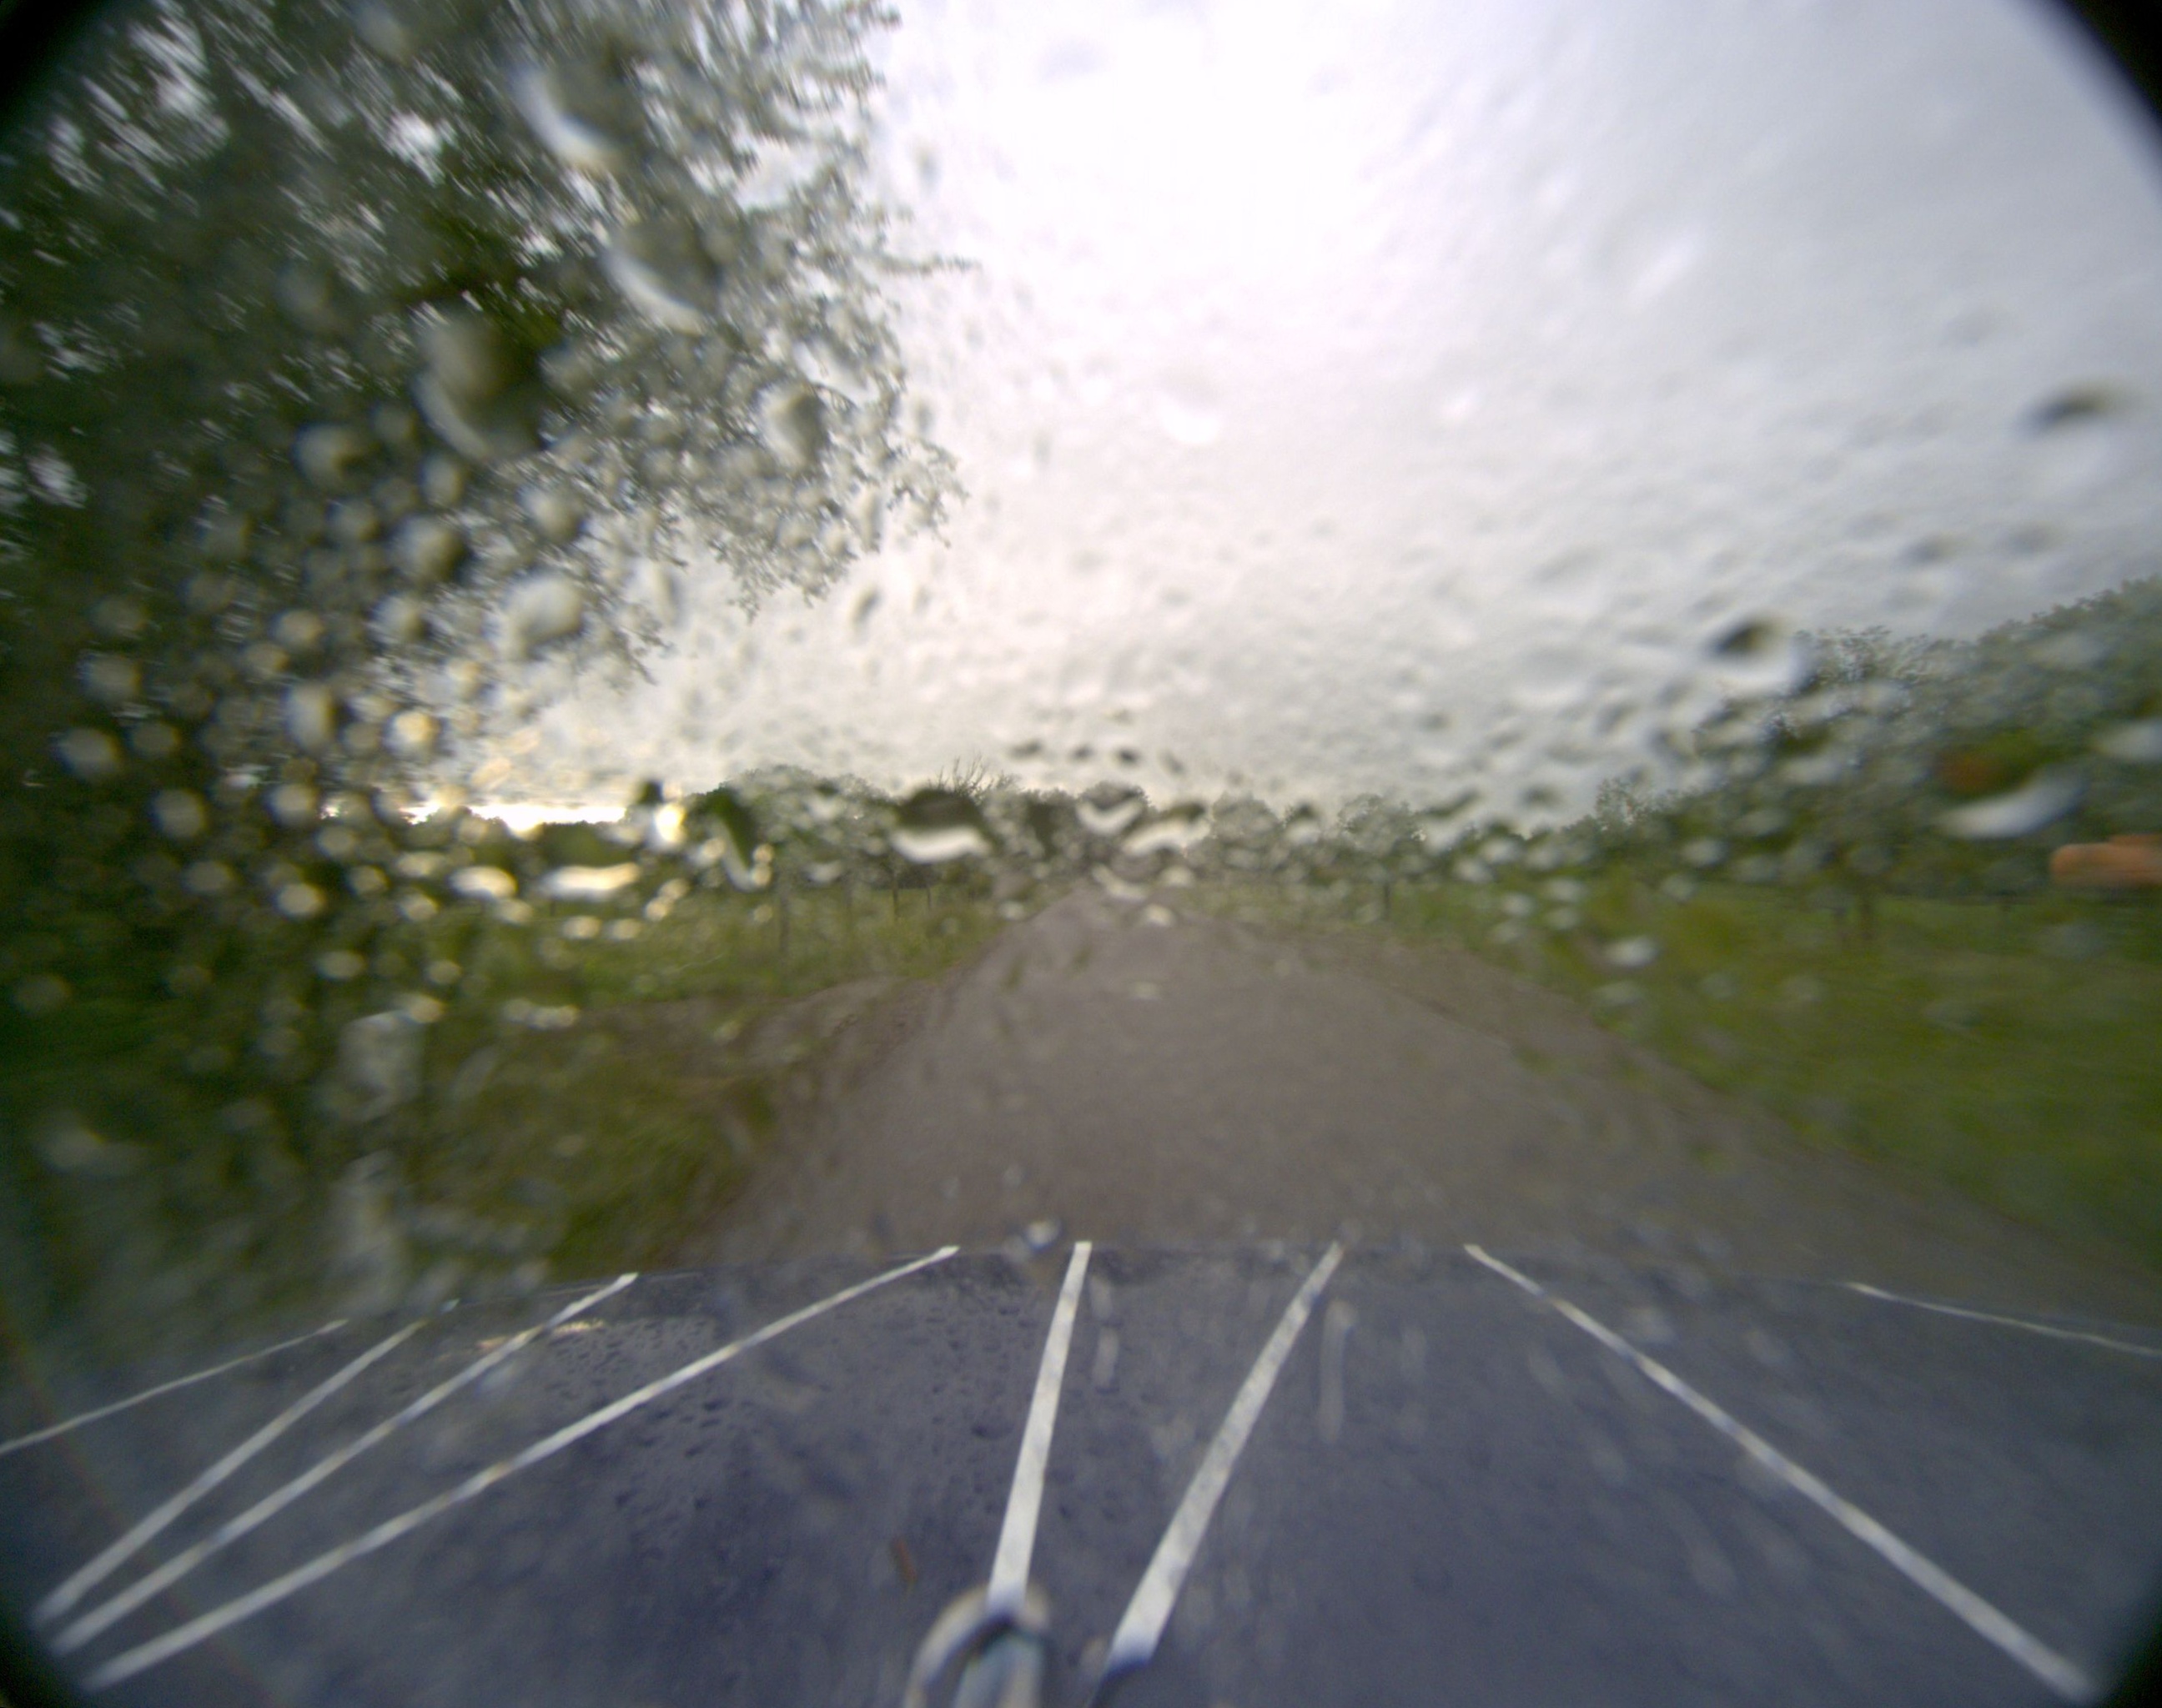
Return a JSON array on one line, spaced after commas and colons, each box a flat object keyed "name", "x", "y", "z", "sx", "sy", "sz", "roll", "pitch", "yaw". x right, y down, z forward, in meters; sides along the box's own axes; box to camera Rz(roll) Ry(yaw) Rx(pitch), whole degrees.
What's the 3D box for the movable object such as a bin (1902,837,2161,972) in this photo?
[{"name": "movable object such as a bin", "x": 13.559, "y": 0.582, "z": 9.977, "sx": 1.683, "sy": 1.561, "sz": 3.538, "roll": -2, "pitch": 0, "yaw": -1}]
